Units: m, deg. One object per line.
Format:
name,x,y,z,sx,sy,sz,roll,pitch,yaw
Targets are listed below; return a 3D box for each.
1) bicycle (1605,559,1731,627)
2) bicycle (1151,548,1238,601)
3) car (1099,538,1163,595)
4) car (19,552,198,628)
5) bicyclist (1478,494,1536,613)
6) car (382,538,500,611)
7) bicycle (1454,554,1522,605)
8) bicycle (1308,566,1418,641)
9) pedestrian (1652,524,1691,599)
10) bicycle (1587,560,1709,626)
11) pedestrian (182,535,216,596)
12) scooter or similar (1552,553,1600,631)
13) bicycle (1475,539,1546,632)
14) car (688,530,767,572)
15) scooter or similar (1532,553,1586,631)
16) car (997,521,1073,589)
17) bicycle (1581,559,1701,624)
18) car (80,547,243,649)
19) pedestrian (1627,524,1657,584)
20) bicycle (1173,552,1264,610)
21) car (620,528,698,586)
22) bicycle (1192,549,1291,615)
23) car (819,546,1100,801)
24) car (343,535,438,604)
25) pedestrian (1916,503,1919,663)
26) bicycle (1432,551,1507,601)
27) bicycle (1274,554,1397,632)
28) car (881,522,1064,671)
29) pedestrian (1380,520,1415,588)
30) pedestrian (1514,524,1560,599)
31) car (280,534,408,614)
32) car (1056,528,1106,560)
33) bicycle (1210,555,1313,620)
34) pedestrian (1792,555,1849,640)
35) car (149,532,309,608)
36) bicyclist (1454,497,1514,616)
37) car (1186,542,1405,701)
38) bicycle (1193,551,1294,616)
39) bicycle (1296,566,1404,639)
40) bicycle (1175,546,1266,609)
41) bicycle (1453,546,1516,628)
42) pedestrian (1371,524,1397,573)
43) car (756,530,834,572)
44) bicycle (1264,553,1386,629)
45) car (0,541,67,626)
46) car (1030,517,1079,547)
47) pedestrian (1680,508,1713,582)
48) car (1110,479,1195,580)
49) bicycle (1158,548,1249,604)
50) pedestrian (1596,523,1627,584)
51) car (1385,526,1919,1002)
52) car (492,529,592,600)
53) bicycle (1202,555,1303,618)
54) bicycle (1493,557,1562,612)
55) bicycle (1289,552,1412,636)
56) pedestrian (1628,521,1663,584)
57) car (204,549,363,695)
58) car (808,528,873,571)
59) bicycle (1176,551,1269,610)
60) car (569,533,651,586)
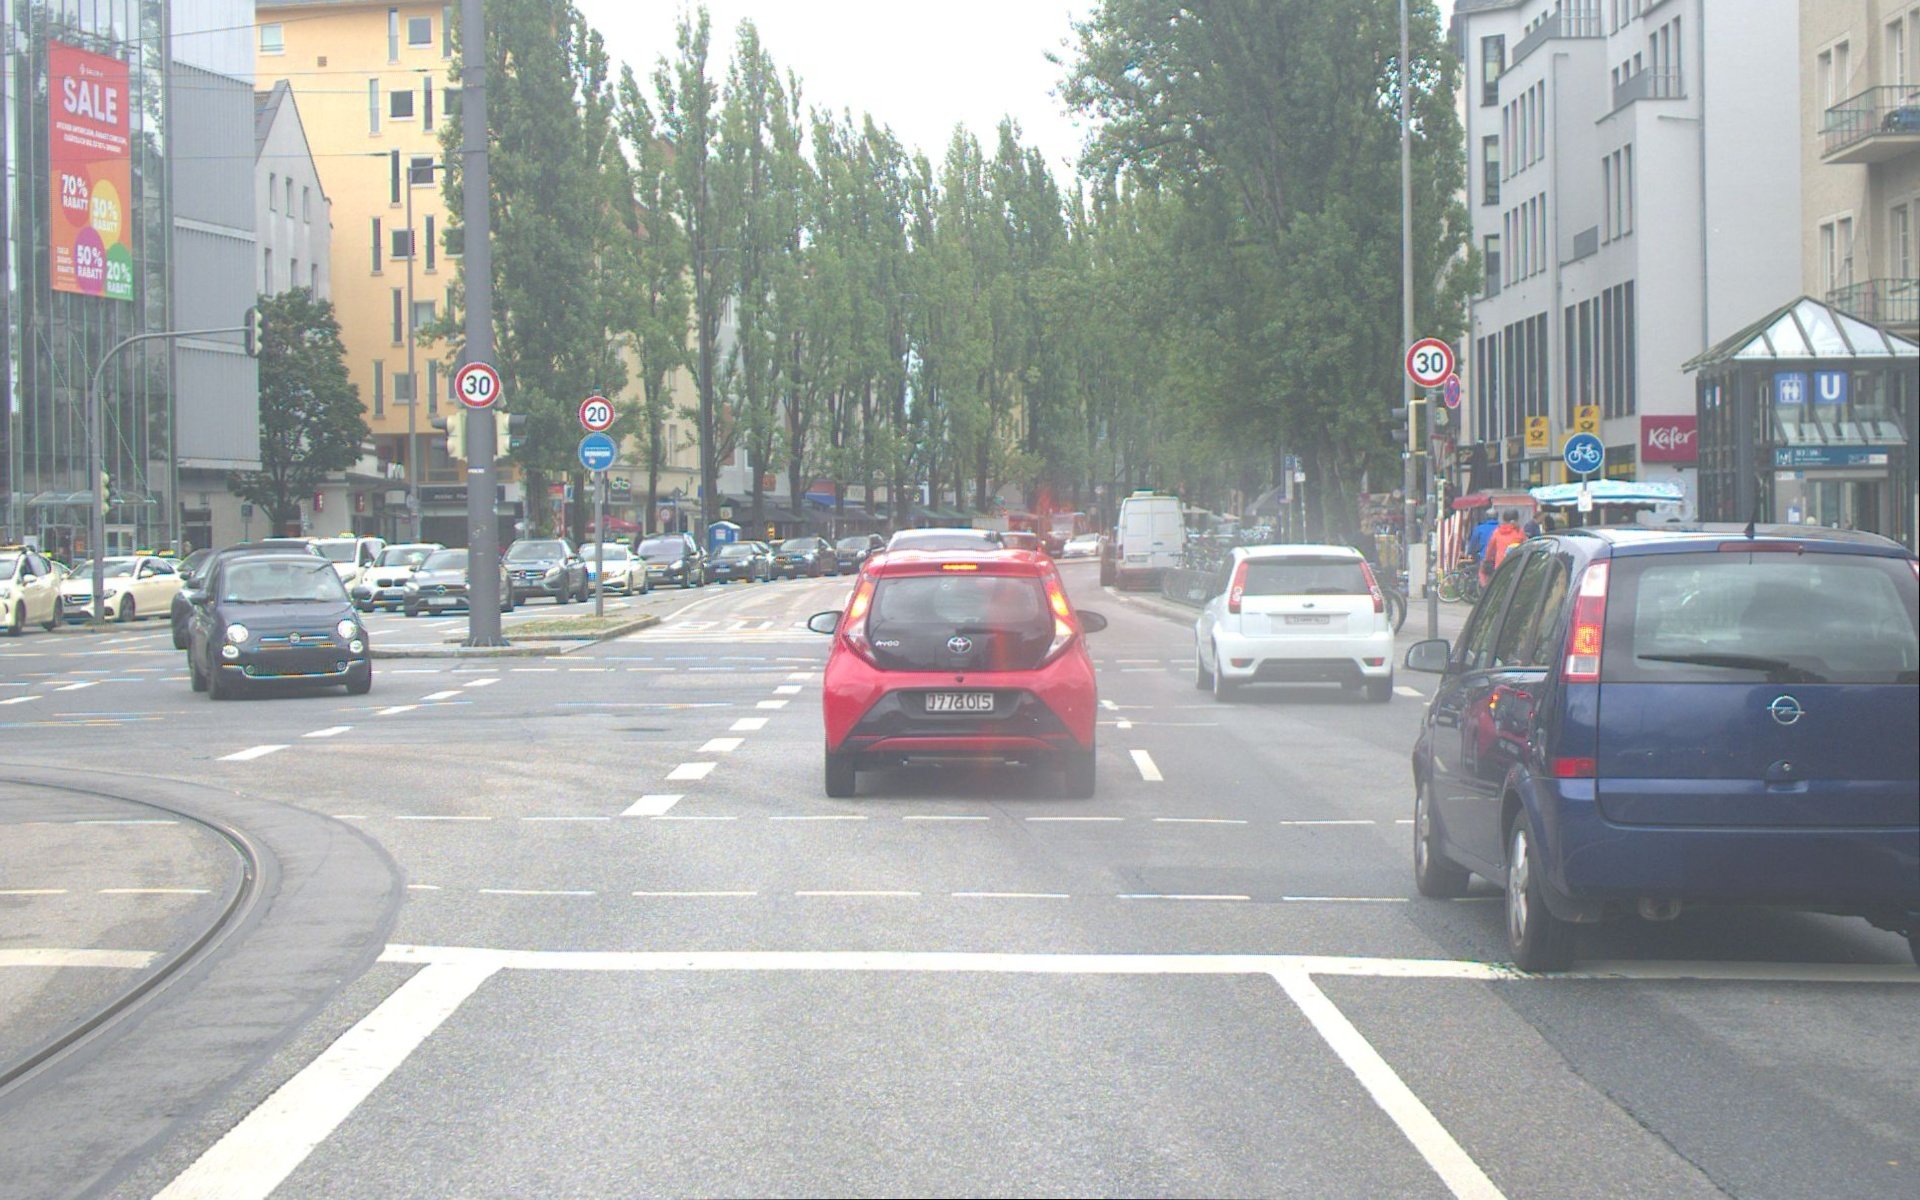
bicycle,10.457,-0.102,50.810,1.754,0.961,0.453,-1,1,-2
bicycle,5.032,-0.548,73.863,1.836,1.132,0.585,0,1,36
car,5.055,-1.016,101.855,1.703,1.657,3.556,0,1,0
car,-17.815,-0.232,72.128,1.994,1.503,4.633,0,1,9
bicyclist,7.743,-0.667,48.687,0.614,1.652,1.251,-1,1,0
car,-11.023,-0.566,73.267,1.993,1.407,4.168,2,1,-2
bicycle,10.154,-0.396,66.134,1.261,0.960,0.369,-1,1,3
bicycle,5.682,0.043,48.537,0.498,1.025,1.601,-2,2,-42
pedestrian,14.225,-0.772,68.693,0.580,1.500,0.615,0,1,31
bicycle,10.408,-0.112,52.033,1.754,0.961,0.453,-1,1,1
pedestrian,-21.312,-0.972,96.271,0.651,1.686,0.711,0,1,13
scooter or similar,9.478,-0.124,52.893,0.301,1.172,1.275,0,1,30
bicycle,7.775,-0.219,48.642,0.614,1.260,2.520,-1,1,0
car,-8.025,-1.685,119.120,1.845,1.378,4.599,0,0,8
scooter or similar,9.282,-0.134,53.258,0.364,1.172,1.345,0,1,30
car,2.051,-1.263,95.255,1.993,1.831,4.000,0,1,0
bicycle,10.441,-0.130,52.725,1.754,0.961,0.369,-1,1,1
car,-12.377,-0.068,53.535,1.664,1.503,4.282,-1,1,-2
pedestrian,15.975,-1.076,80.547,0.574,1.397,0.580,0,1,0
bicycle,5.126,-0.388,68.208,1.836,1.132,0.585,0,2,43
car,-9.276,-1.350,106.237,1.936,1.733,4.588,0,1,1
bicycle,5.174,-0.332,63.306,1.836,1.193,0.585,0,2,43
car,0.014,0.396,21.268,1.605,1.456,3.130,0,1,1
car,-13.561,-0.745,82.033,1.698,1.590,4.000,-1,1,-1
pedestrian,10.712,-0.189,36.468,0.836,1.685,0.818,0,1,37
bicycle,10.028,-0.467,67.675,1.432,0.960,0.369,-1,1,6
bicycle,5.611,-0.110,51.445,1.803,1.154,0.547,0,1,38
car,0.111,-0.073,39.540,1.993,1.612,4.000,0,1,-1
pedestrian,11.177,-1.189,87.850,0.790,1.722,0.764,0,1,0
pedestrian,11.735,-0.781,69.955,0.808,1.517,0.800,0,1,1
car,-16.057,-0.702,89.909,1.994,2.007,5.522,0,1,4
car,6.705,-3.120,190.357,1.994,1.686,4.411,-1,1,12
bicycle,5.232,-0.216,59.769,1.803,1.107,0.561,0,2,42
pedestrian,15.581,-0.051,62.281,0.777,1.512,0.758,-2,1,-2
car,-16.592,-0.710,78.227,1.994,1.673,4.181,0,1,12
bicyclist,8.339,-0.704,54.771,0.762,1.863,1.133,-1,1,0
car,3.152,0.162,32.865,1.699,1.421,3.497,0,1,-1
bicycle,5.150,-0.300,62.525,1.836,1.164,0.585,0,2,43
bicycle,5.601,0.023,49.393,0.498,1.025,1.601,-2,2,-42
bicycle,5.214,-0.451,68.873,1.836,1.237,0.585,0,2,43
bicycle,8.339,-0.221,54.736,0.614,1.260,2.520,-1,1,0
pedestrian,13.391,-1.620,108.512,0.713,1.553,0.676,0,1,0
car,-6.181,-1.859,129.576,1.994,1.529,4.586,0,1,10
bicycle,5.618,-0.137,52.937,1.801,1.154,0.486,0,1,26
car,-18.475,-0.321,65.189,1.901,1.537,4.393,-1,1,0
car,5.505,-3.969,199.648,1.994,1.686,4.411,-1,1,12
pedestrian,14.846,-1.116,69.297,0.507,1.479,0.464,0,1,35
car,5.327,-1.953,95.587,2.107,2.709,4.804,0,1,1
bicycle,5.043,-0.498,71.134,1.836,1.132,0.585,0,1,36
pedestrian,15.258,-1.089,80.517,0.598,1.397,0.580,0,1,0
car,2.722,0.518,13.292,1.703,1.584,3.556,1,1,0
car,-10.337,-0.896,85.276,1.743,1.664,4.732,-1,1,2
bicycle,5.194,-0.244,61.197,1.803,1.107,0.585,0,2,43
bicycle,10.118,-0.272,61.285,1.181,0.960,0.369,-1,1,4
bicycle,5.677,-0.095,50.051,1.803,1.194,0.558,1,2,43
pedestrian,17.175,-1.196,86.135,0.713,1.553,0.676,-1,1,0
car,-7.173,0.192,36.281,1.545,1.440,3.540,-1,1,-12
car,-4.808,-2.030,138.748,1.994,1.686,4.920,0,0,5
bicycle,5.149,-0.380,67.446,1.836,1.132,0.585,0,2,43
car,-9.706,-1.133,95.536,1.765,1.417,4.639,0,1,0
